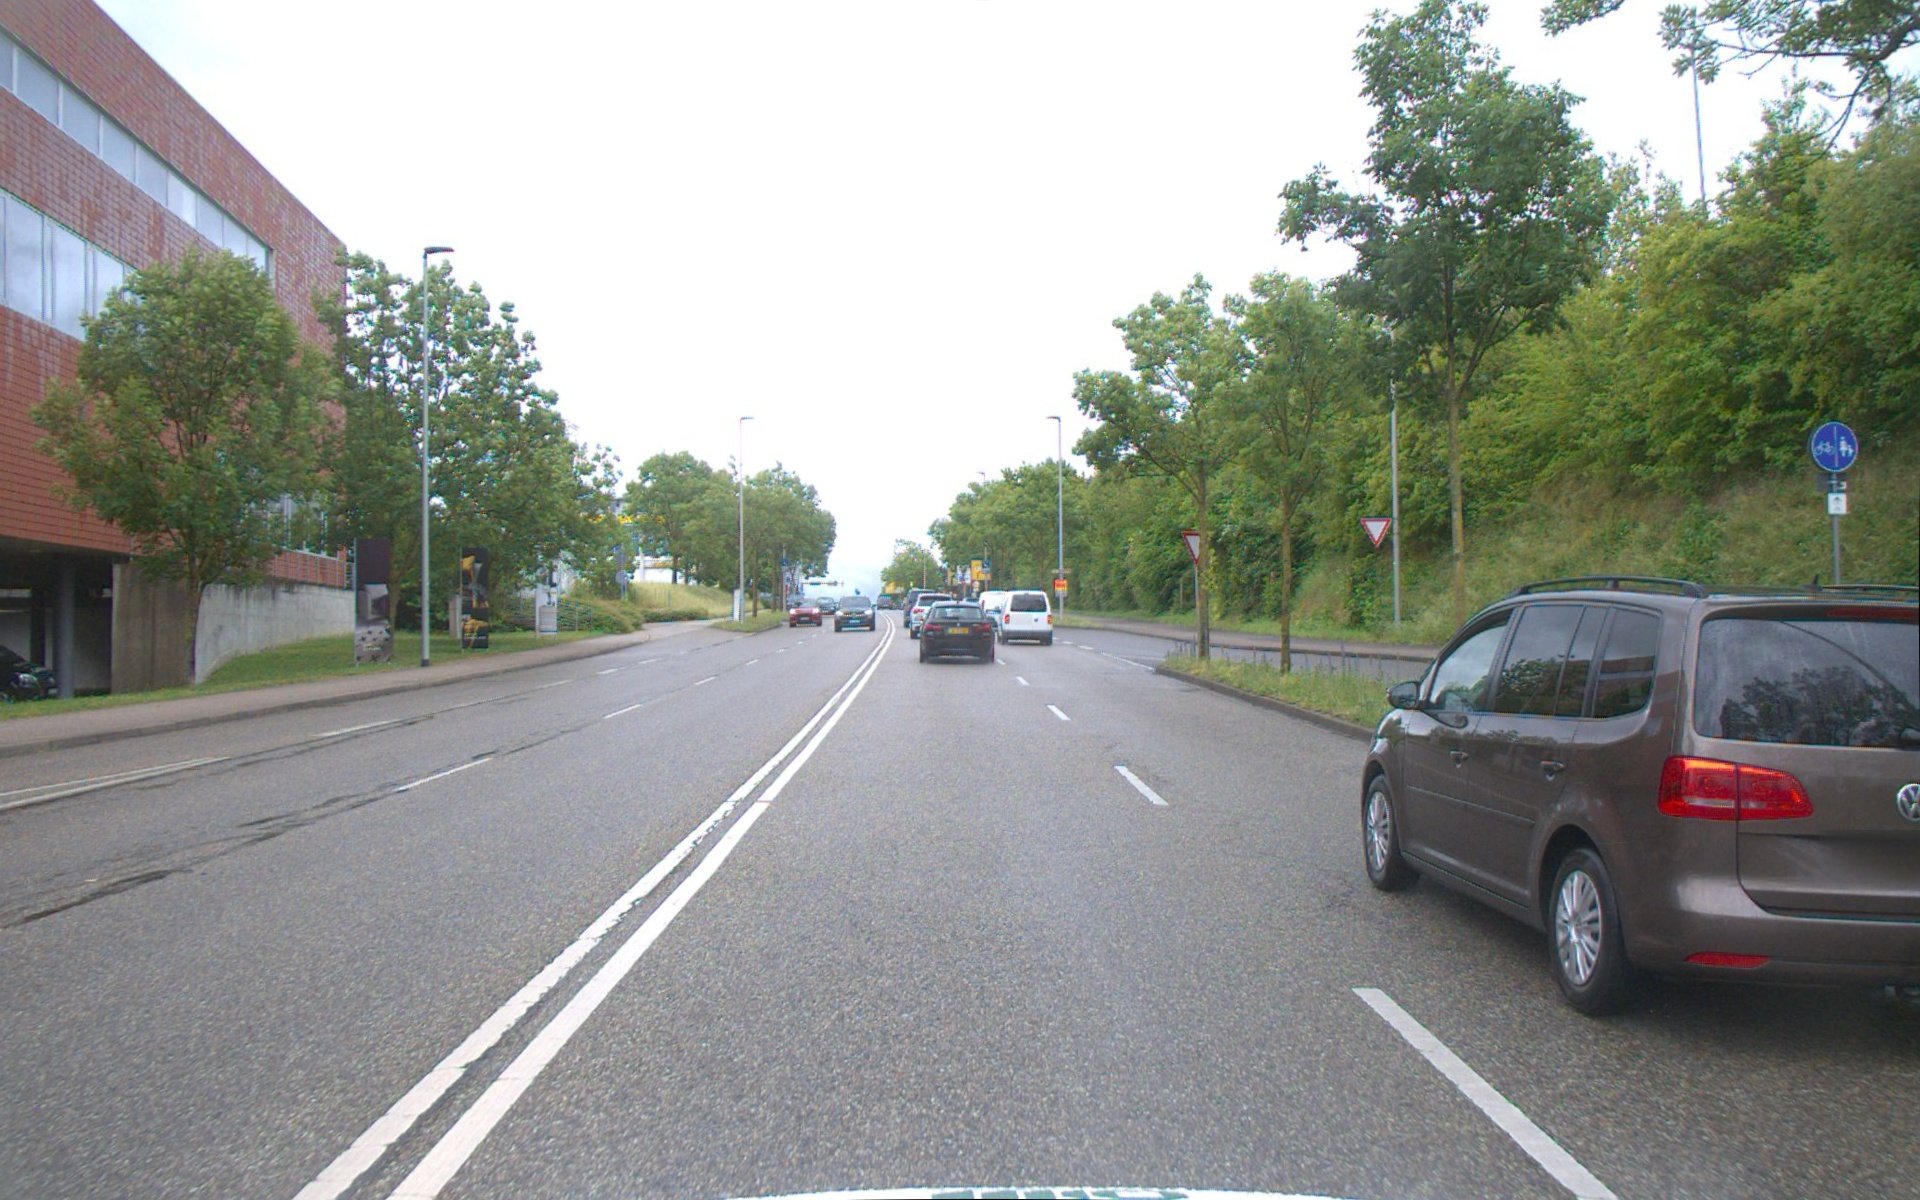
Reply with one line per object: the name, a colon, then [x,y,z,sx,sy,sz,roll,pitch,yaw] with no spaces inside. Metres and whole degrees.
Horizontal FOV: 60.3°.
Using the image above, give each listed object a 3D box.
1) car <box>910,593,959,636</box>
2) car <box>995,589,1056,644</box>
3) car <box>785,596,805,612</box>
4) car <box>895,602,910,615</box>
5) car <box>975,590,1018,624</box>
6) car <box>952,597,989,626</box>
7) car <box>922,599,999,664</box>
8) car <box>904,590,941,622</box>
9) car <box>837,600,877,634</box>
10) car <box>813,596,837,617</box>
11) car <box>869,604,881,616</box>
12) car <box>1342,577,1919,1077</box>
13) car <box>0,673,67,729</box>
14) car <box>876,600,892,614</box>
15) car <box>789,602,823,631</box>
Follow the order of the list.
car: [-0.990,0.567,62.966,1.758,1.537,3.998,1,-1,-2]
car: [2.210,0.548,56.959,1.790,1.790,3.998,1,0,-2]
car: [-15.867,0.390,159.084,1.759,1.537,3.996,1,-1,-4]
car: [-6.886,0.991,196.992,1.758,1.537,3.998,1,-1,-3]
car: [1.704,0.370,78.546,1.758,1.537,3.998,1,-1,-2]
car: [0.593,0.658,93.323,1.759,1.537,3.996,1,-1,-4]
car: [0.002,0.742,40.965,1.790,1.494,4.000,0,0,0]
car: [-1.874,0.341,83.353,1.758,1.537,3.999,1,-1,-1]
car: [-4.808,0.806,77.160,1.759,1.537,3.996,1,-1,-4]
car: [-10.360,0.510,127.093,1.759,1.537,3.996,1,-1,-4]
car: [-12.238,1.451,238.554,1.758,1.537,3.998,1,-1,-3]
car: [3.120,0.726,7.470,1.651,1.609,4.217,1,0,-2]
car: [-24.920,2.548,42.166,3.463,1.307,1.521,1,-1,2]
car: [-8.579,0.808,186.497,1.758,1.537,3.998,1,-1,-3]
car: [-8.709,0.951,93.745,1.759,1.537,3.996,1,-1,-4]
